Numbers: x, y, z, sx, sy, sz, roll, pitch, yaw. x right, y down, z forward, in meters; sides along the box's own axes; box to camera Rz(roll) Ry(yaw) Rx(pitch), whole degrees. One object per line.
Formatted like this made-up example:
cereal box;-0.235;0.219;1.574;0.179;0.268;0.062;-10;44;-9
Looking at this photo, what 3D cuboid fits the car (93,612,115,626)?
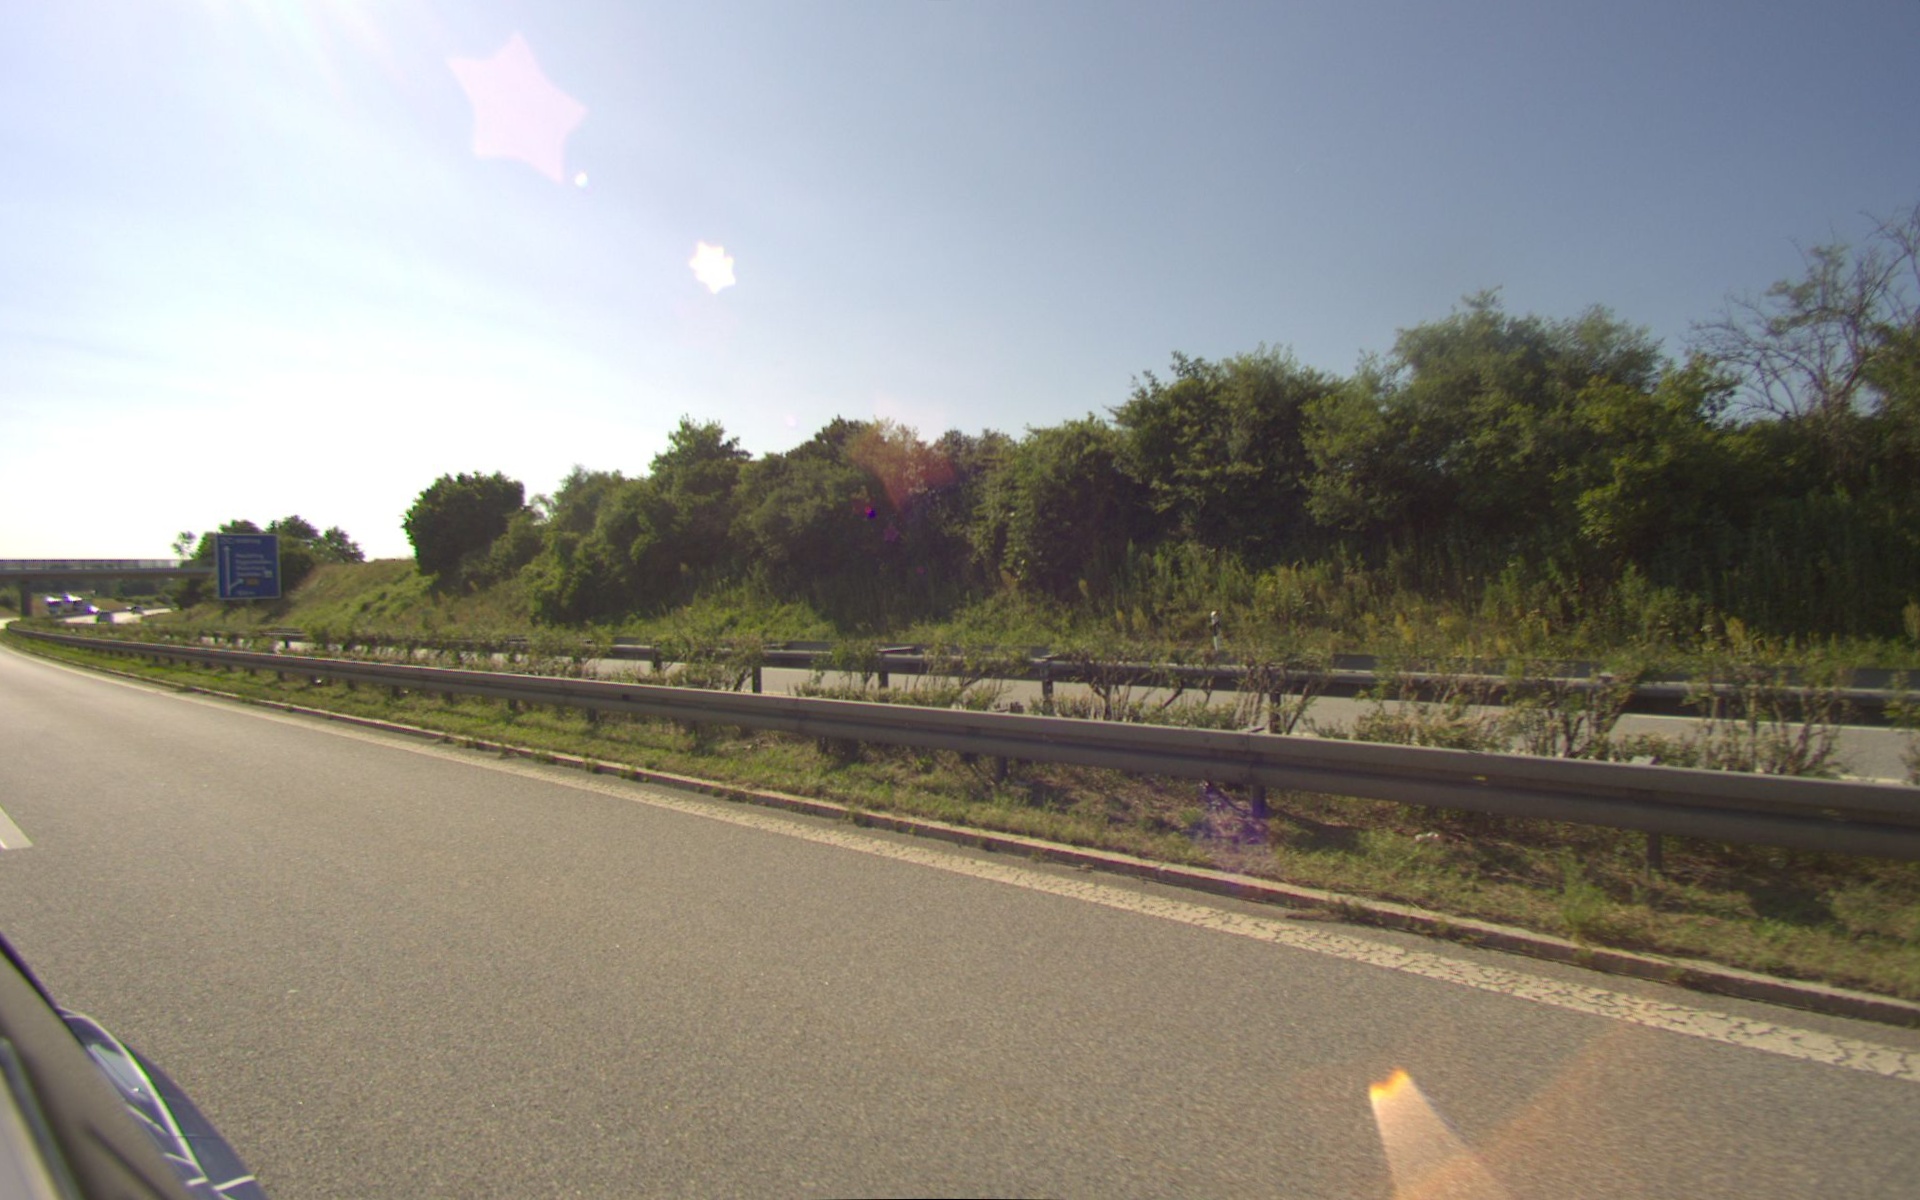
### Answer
car;-103.880;2.269;122.780;1.835;1.610;4.003;0;0;-44
